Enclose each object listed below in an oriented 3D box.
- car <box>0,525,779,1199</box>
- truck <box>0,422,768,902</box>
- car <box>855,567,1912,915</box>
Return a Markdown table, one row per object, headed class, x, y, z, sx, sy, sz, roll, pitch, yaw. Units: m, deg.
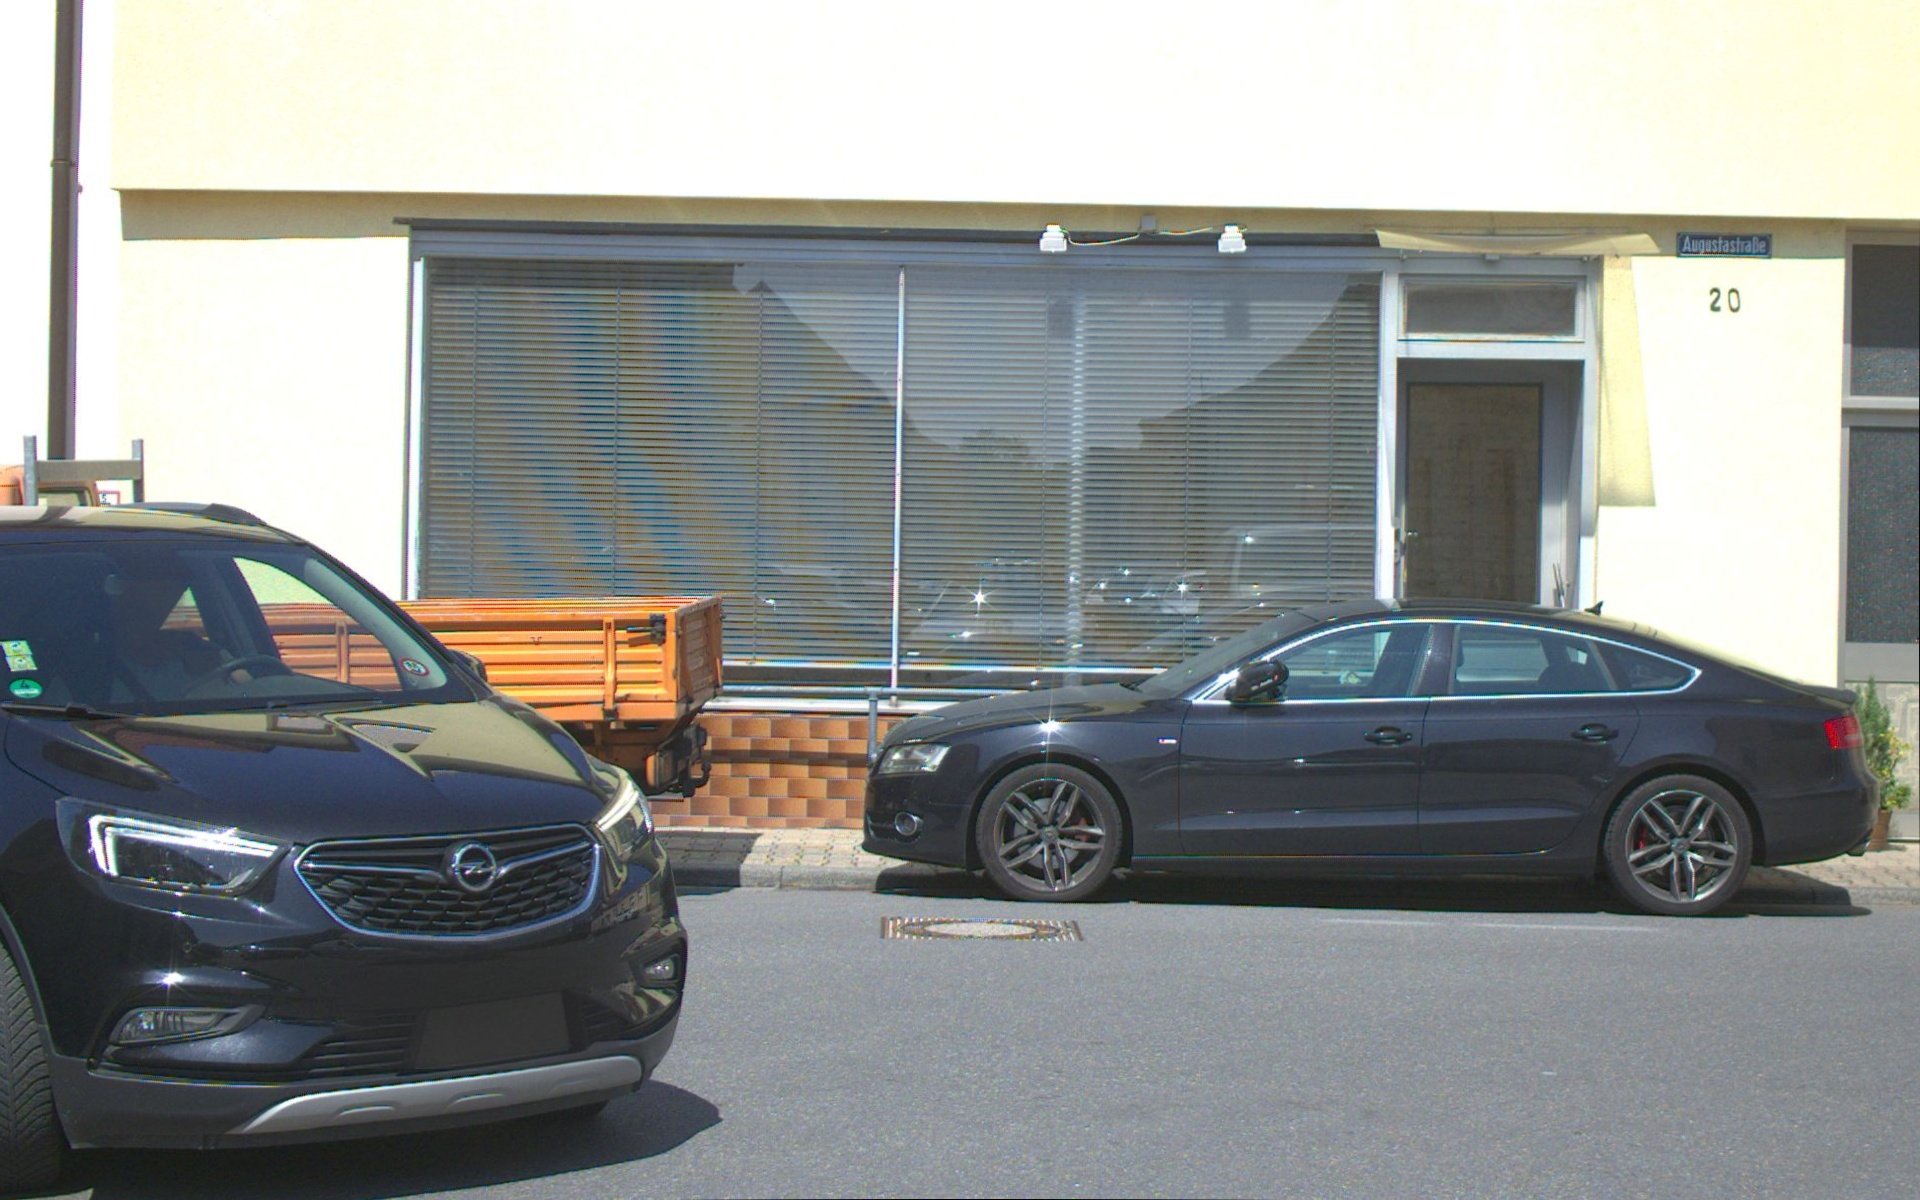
| class | x | y | z | sx | sy | sz | roll | pitch | yaw |
| --- | --- | --- | --- | --- | --- | --- | --- | --- | --- |
| car | -2.456 | 0.586 | 9.403 | 1.757 | 1.577 | 4.279 | -1 | 2 | -39 |
| truck | -3.552 | 0.234 | 16.202 | 5.063 | 2.007 | 2.189 | 2 | 0 | 2 |
| car | 1.864 | 0.655 | 16.080 | 4.616 | 1.389 | 1.928 | 2 | -2 | 0 |
